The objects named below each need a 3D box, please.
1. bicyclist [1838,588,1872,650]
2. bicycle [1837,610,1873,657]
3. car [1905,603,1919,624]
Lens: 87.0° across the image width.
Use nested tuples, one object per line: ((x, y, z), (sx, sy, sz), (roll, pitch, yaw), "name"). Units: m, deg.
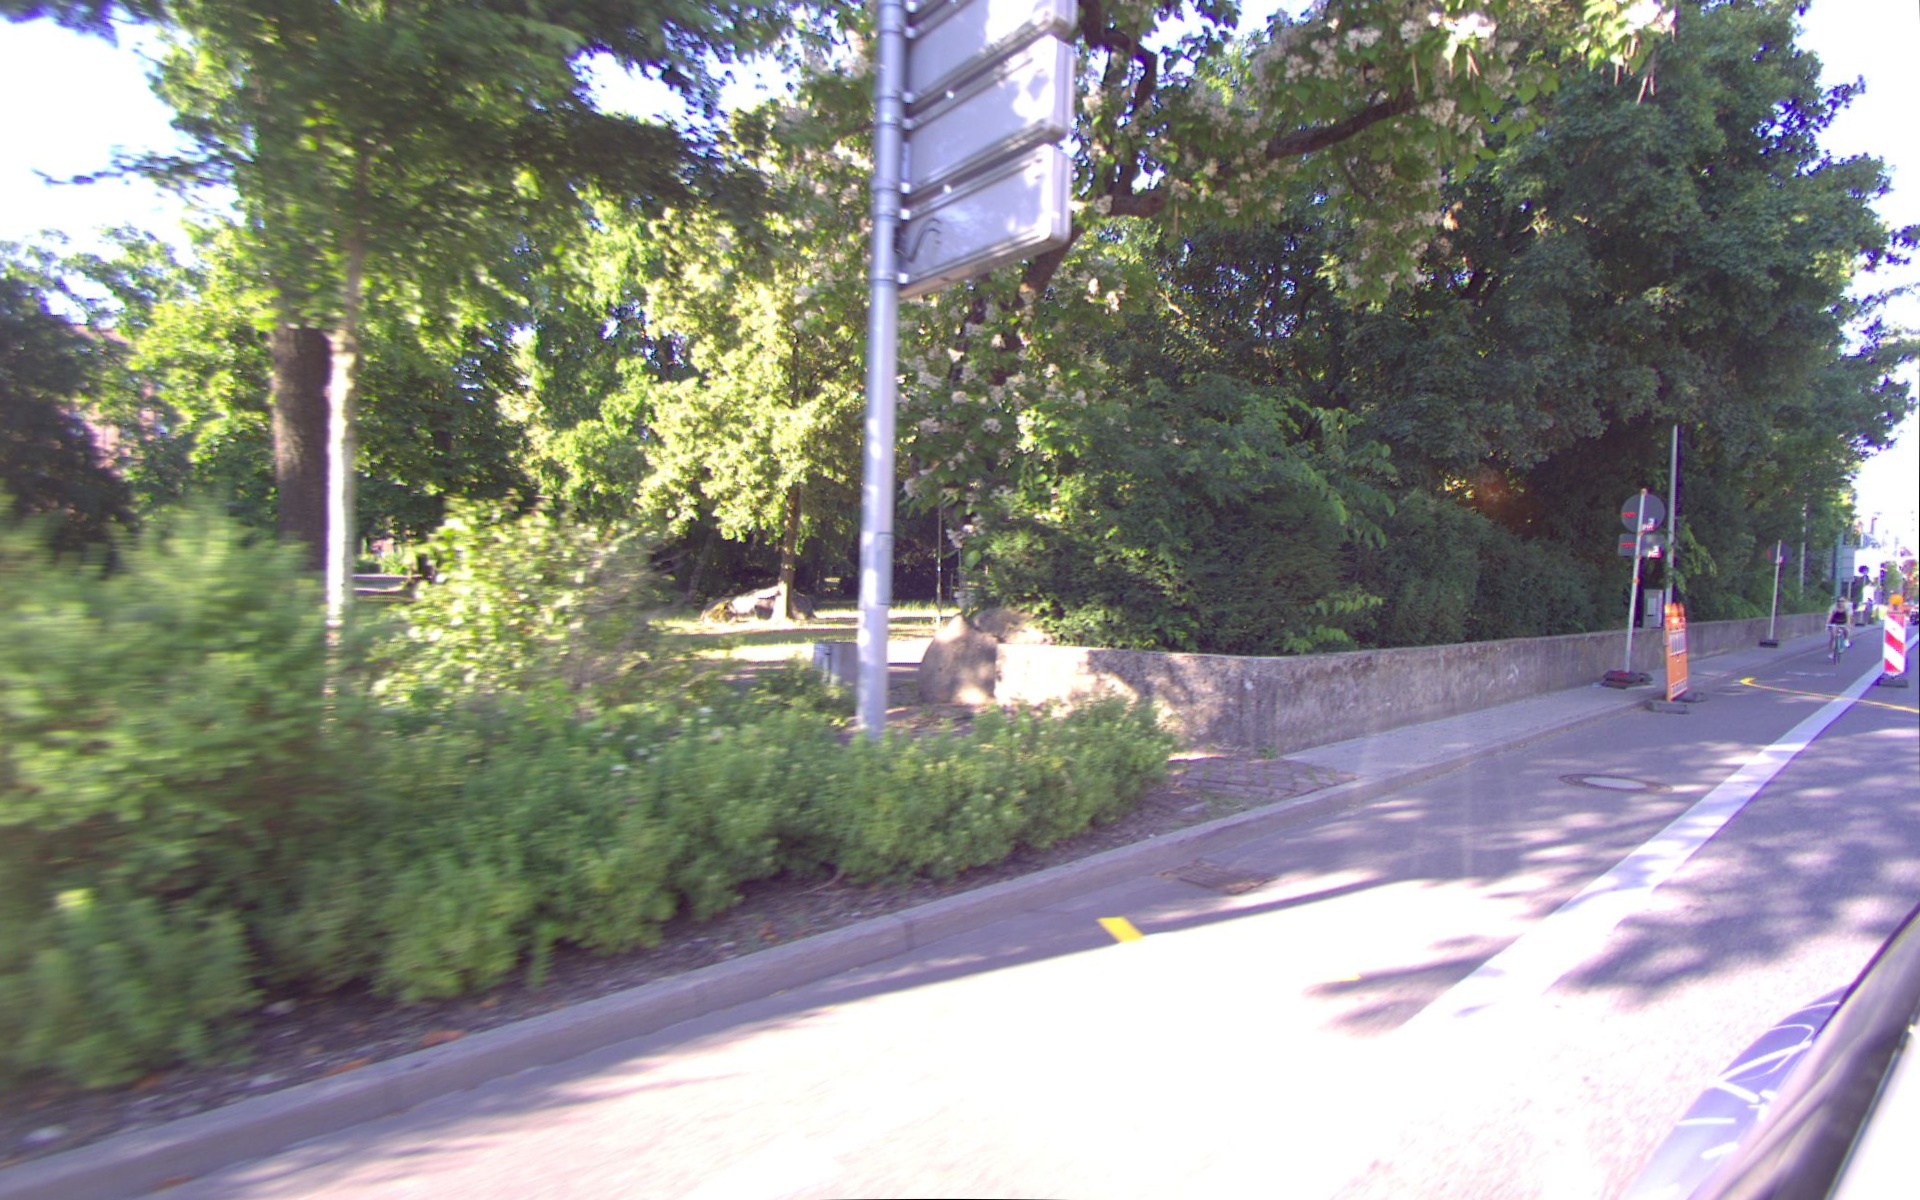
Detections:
((20.970, 0.434, 23.707), (0.515, 1.424, 0.792), (2, 2, 45), "bicyclist")
((21.000, 0.768, 23.740), (1.481, 1.037, 0.505), (0, 2, -45), "bicycle")
((65.455, 0.963, 66.811), (1.958, 1.371, 4.009), (1, 2, -14), "car")
